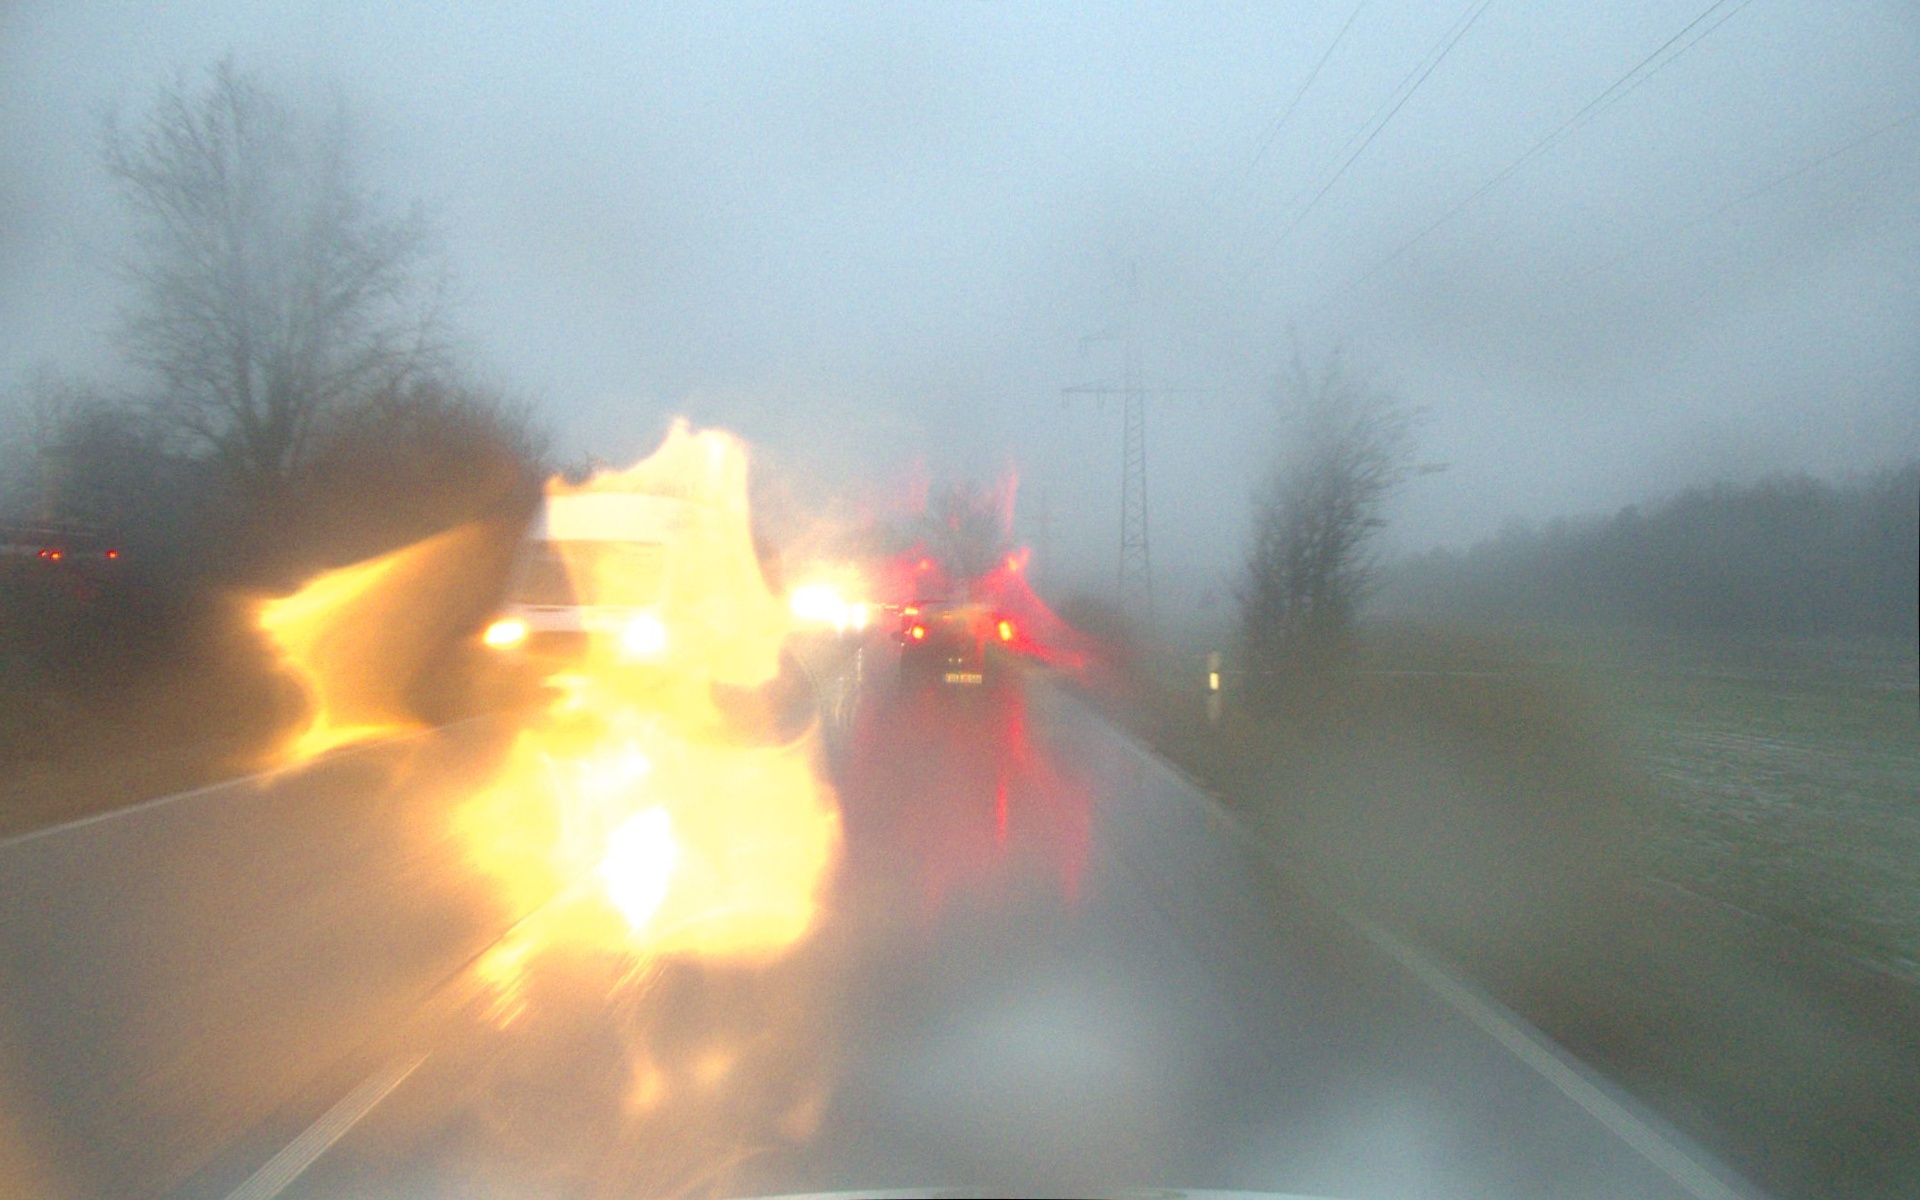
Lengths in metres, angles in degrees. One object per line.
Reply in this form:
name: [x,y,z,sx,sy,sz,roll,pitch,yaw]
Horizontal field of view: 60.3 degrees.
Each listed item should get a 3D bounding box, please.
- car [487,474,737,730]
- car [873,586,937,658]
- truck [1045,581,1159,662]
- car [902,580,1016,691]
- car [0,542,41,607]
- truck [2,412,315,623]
car: [-4.147,0.009,20.859,1.913,2.721,6.270,1,0,-1]
car: [-1.656,0.640,50.071,1.815,2.049,3.998,1,0,-2]
truck: [4.955,0.732,59.851,2.454,2.616,10.797,1,0,-4]
car: [-0.066,0.473,23.259,1.470,1.423,3.198,1,0,-2]
car: [-31.301,-0.832,51.977,1.952,2.049,5.104,1,0,0]
truck: [-27.722,-2.508,58.784,3.687,6.398,15.734,1,0,-1]
